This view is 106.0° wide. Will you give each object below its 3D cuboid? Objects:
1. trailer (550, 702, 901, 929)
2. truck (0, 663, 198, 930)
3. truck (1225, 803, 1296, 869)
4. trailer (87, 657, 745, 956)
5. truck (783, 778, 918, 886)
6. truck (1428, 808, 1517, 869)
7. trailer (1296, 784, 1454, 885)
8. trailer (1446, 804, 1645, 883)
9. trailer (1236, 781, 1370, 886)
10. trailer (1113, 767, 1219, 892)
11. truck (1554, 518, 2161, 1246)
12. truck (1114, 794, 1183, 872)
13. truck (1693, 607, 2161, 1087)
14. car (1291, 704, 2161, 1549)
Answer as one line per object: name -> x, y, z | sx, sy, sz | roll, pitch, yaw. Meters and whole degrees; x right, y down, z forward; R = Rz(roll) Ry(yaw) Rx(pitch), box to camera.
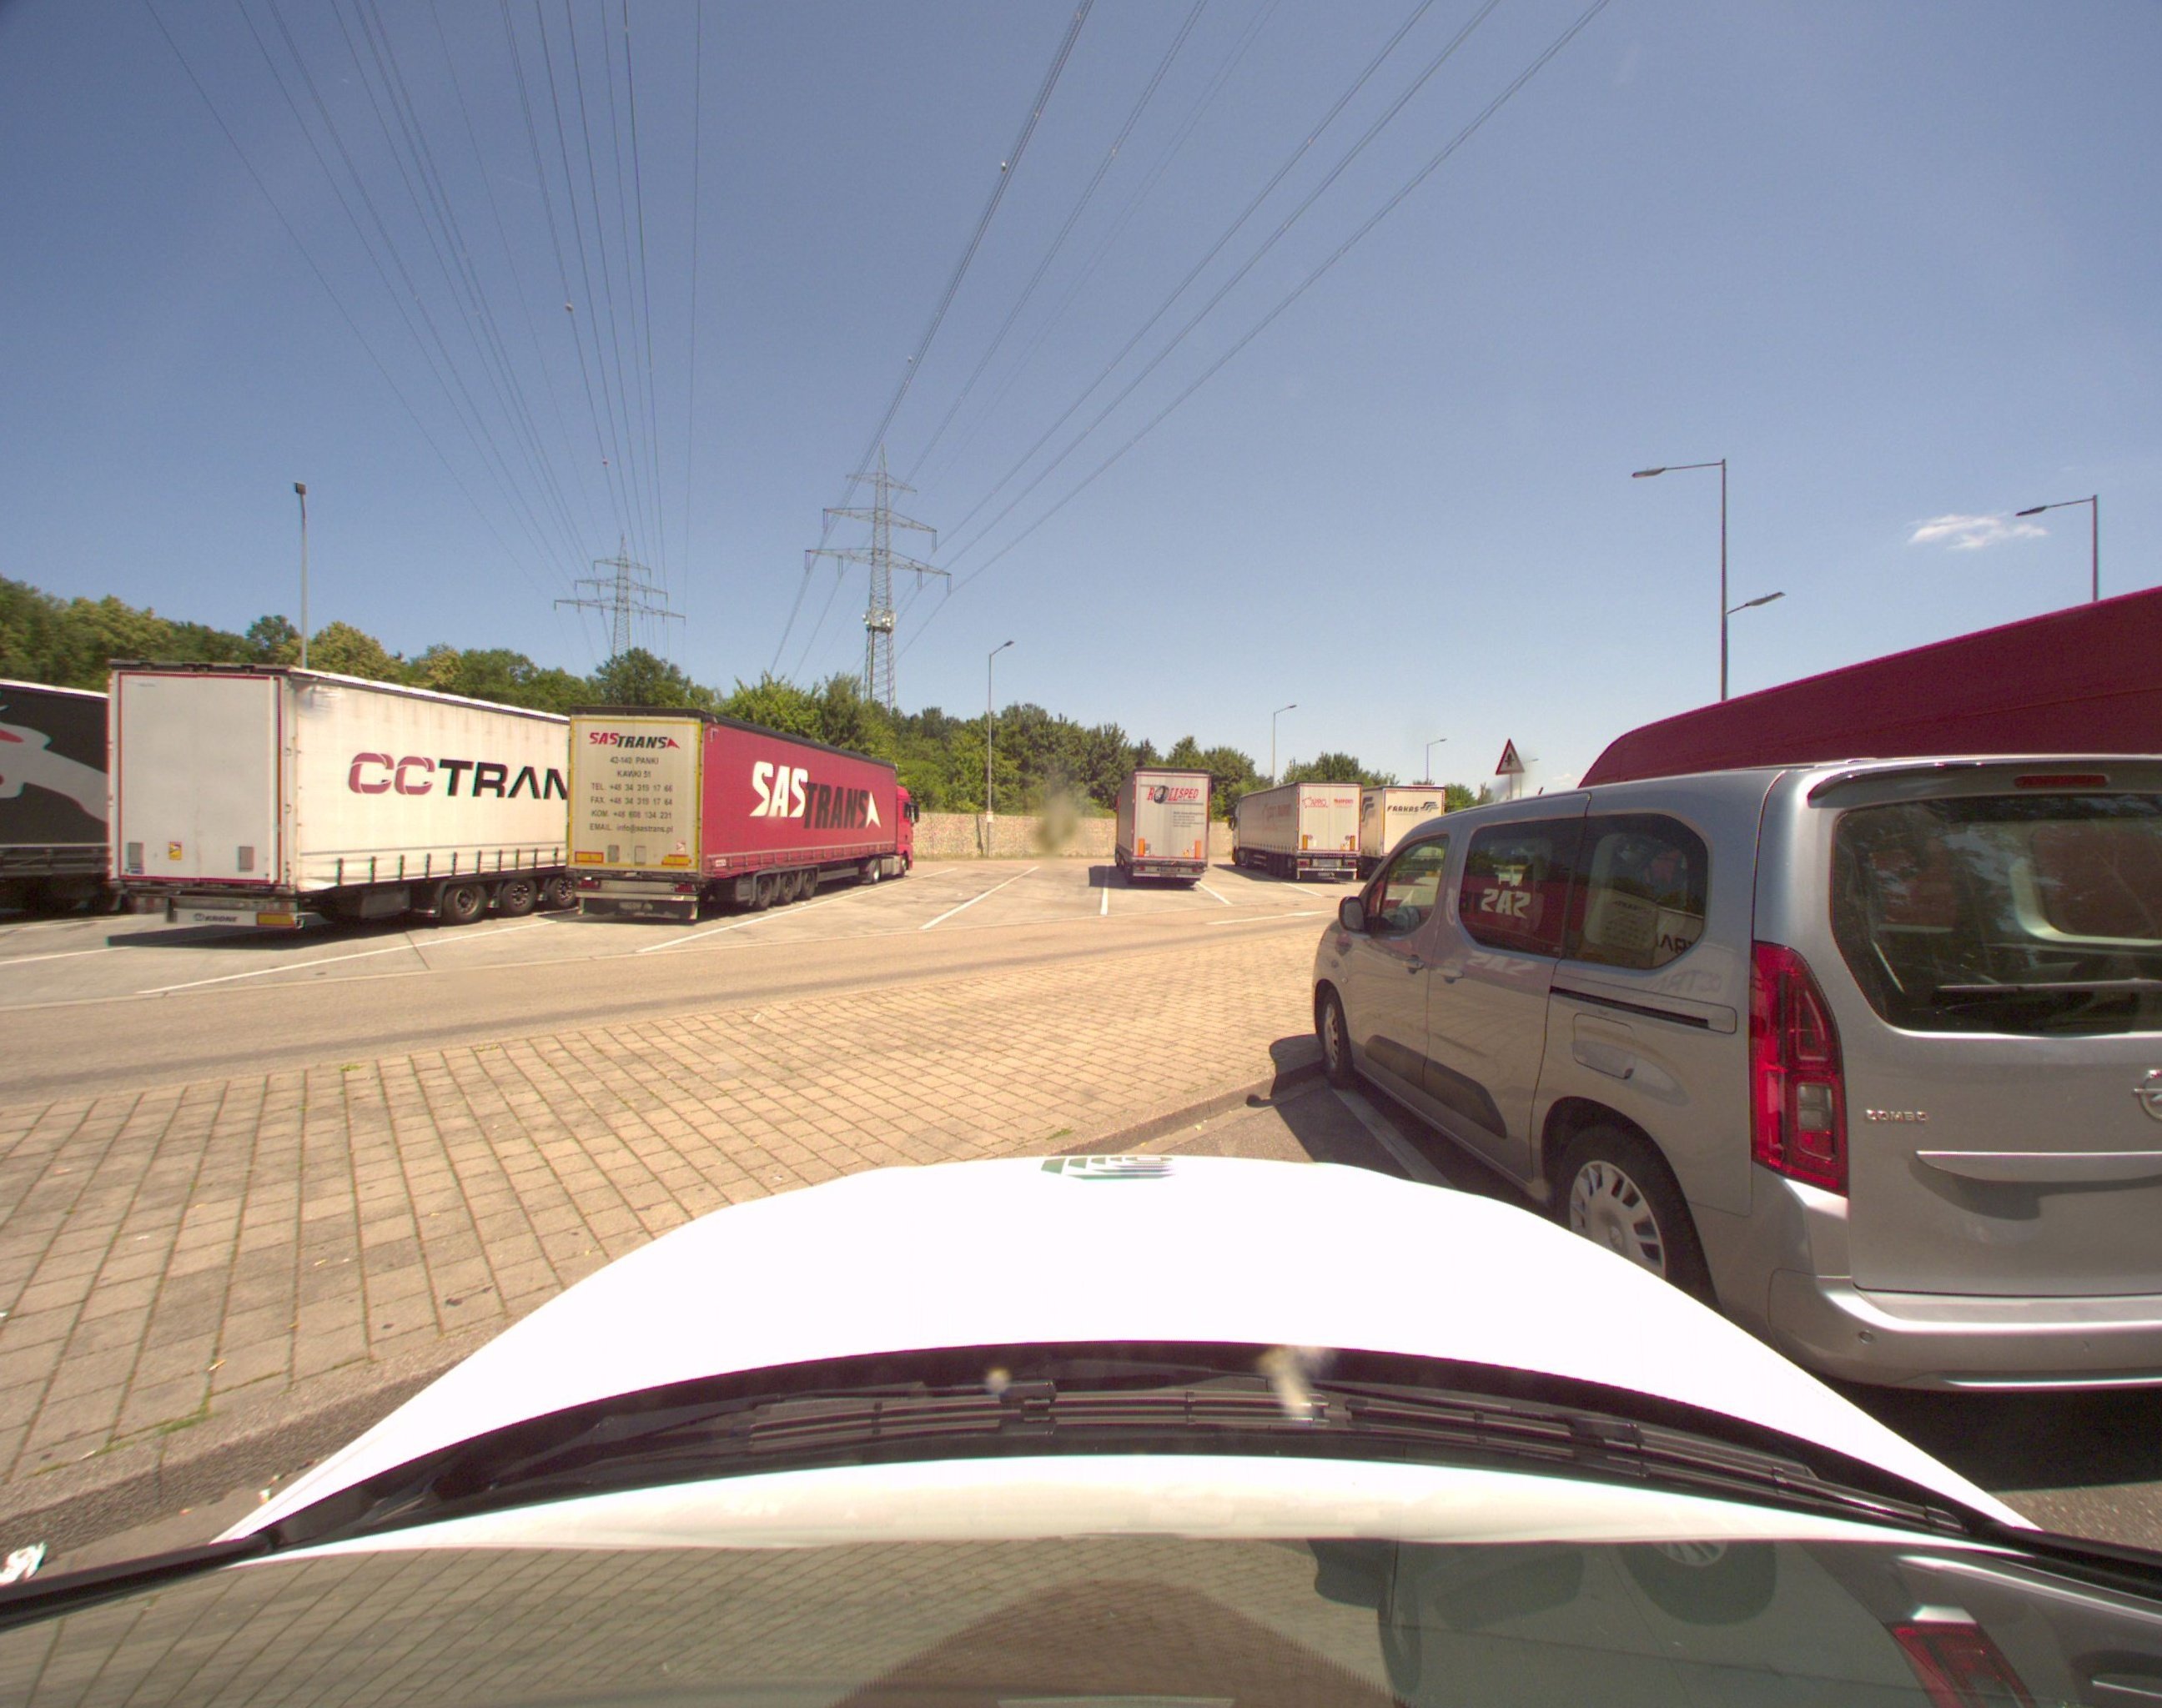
trailer -> -8.072, -0.946, 21.915 | 2.781, 4.084, 14.139 | 1, 2, 2
truck -> -18.549, -0.967, 13.795 | 2.726, 4.239, 3.997 | 1, 2, 2
truck -> 10.185, -1.074, 46.754 | 2.852, 3.521, 5.903 | 1, 2, 2
trailer -> -12.136, -0.909, 18.346 | 2.785, 4.084, 14.139 | 1, 2, 2
truck -> -7.823, -0.783, 28.485 | 2.840, 3.327, 5.903 | 1, 2, 2
truck -> 24.350, -1.005, 50.993 | 2.792, 3.521, 5.903 | 1, 2, 2
trailer -> 13.595, -1.035, 39.616 | 2.801, 3.989, 14.403 | 1, 2, 2
trailer -> 24.093, -0.734, 43.762 | 2.801, 3.507, 14.403 | 1, 2, 2
trailer -> 9.922, -1.044, 38.653 | 2.801, 3.989, 14.403 | 1, 2, 2
trailer -> 3.056, -1.063, 33.705 | 3.122, 3.989, 14.401 | 1, 2, 1
truck -> 5.126, 0.119, 4.916 | 1.968, 2.622, 5.314 | 0, -1, 7
truck -> 3.222, -1.079, 40.599 | 3.092, 3.566, 5.903 | 1, 2, 2
truck -> 7.982, -0.036, 6.464 | 2.444, 2.912, 5.663 | -1, -1, 7
car -> 2.480, 0.575, 3.893 | 1.864, 1.863, 4.176 | 1, 1, 0
